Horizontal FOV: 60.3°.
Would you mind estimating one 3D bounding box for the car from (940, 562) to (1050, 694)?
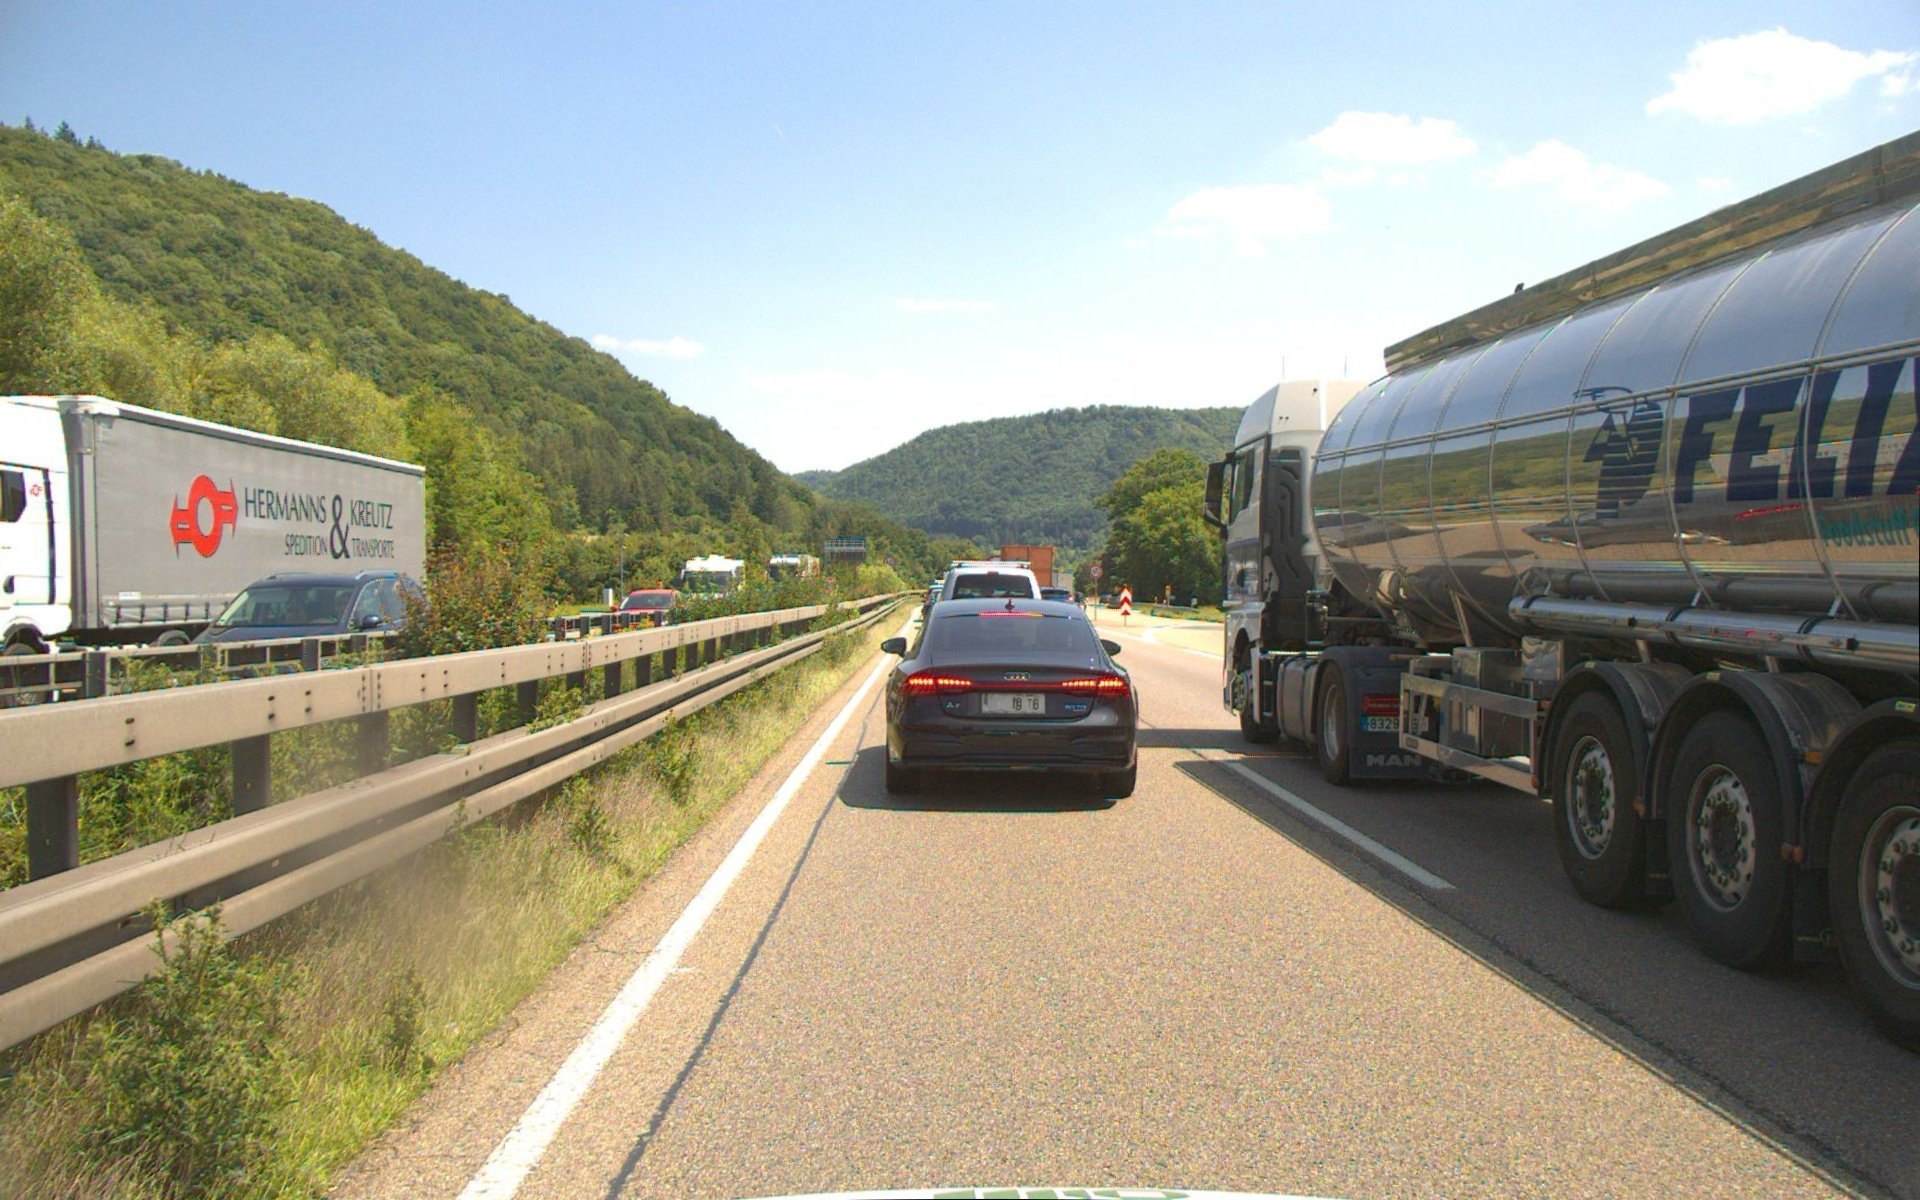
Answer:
[{"bbox_3d":[0.471,0.382,25.506,1.544,1.865,3.999,1,0,-1],"label":"car"}]

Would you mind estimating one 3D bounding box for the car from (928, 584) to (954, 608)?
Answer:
[{"bbox_3d":[-1.312,-0.280,113.965,1.677,1.646,4.000,0,0,0],"label":"car"}]

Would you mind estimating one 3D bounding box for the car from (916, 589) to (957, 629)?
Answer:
[{"bbox_3d":[-0.977,0.379,70.633,1.677,1.646,4.000,0,0,0],"label":"car"}]

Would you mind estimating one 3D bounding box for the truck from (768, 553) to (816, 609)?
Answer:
[{"bbox_3d":[-12.653,-1.434,125.410,2.811,4.076,10.168,1,0,-1],"label":"truck"}]

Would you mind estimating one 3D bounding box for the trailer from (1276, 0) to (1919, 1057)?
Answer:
[{"bbox_3d":[4.269,-0.441,9.142,2.487,3.801,11.888,1,0,-1],"label":"trailer"}]

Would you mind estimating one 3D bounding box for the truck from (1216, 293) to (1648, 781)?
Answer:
[{"bbox_3d":[4.135,-0.512,15.678,2.460,3.824,5.244,1,0,-1],"label":"truck"}]

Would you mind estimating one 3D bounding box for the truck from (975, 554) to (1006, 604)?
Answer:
[{"bbox_3d":[2.227,-1.529,123.041,1.953,3.507,11.810,1,0,-1],"label":"truck"}]

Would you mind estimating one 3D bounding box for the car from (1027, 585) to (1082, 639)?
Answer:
[{"bbox_3d":[3.657,0.447,64.581,1.952,2.037,4.000,0,0,0],"label":"car"}]

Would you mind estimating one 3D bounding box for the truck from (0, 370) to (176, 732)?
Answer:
[{"bbox_3d":[-12.143,-0.550,20.079,2.672,4.071,5.369,-1,0,-1],"label":"truck"}]

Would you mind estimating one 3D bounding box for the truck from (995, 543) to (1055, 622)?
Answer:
[{"bbox_3d":[3.496,-0.949,92.623,2.760,4.073,14.955,1,0,0],"label":"truck"}]

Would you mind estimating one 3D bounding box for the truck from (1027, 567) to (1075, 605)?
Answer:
[{"bbox_3d":[11.139,-1.662,201.051,3.712,4.491,14.968,0,0,11],"label":"truck"}]

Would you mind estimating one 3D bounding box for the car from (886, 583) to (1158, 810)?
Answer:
[{"bbox_3d":[0.328,0.636,13.152,1.812,1.514,4.081,1,0,-3],"label":"car"}]

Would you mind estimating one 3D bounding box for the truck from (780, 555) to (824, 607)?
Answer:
[{"bbox_3d":[-12.835,-1.501,135.000,2.811,4.050,9.030,1,0,-1],"label":"truck"}]

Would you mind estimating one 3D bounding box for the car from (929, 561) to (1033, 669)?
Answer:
[{"bbox_3d":[0.371,0.275,33.565,1.953,2.049,3.999,1,0,-1],"label":"car"}]

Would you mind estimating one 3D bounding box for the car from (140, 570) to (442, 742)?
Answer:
[{"bbox_3d":[-7.914,0.587,20.084,1.883,1.828,4.599,1,0,-2],"label":"car"}]

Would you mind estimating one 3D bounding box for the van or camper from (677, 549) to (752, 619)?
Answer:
[{"bbox_3d":[-12.479,-0.800,84.669,2.536,3.394,7.649,0,0,1],"label":"van or camper"}]

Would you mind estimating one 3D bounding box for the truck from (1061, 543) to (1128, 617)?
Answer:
[{"bbox_3d":[7.946,-1.181,99.406,2.760,4.073,14.955,1,0,0],"label":"truck"}]

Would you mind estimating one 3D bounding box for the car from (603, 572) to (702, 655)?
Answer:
[{"bbox_3d":[-8.003,0.319,43.359,1.954,2.049,4.332,1,0,-3],"label":"car"}]

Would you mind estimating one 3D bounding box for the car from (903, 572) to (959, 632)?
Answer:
[{"bbox_3d":[-1.042,0.056,59.219,1.953,2.049,3.999,0,0,-1],"label":"car"}]

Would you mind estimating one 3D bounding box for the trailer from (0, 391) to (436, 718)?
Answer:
[{"bbox_3d":[-12.337,-0.624,27.695,2.726,4.069,14.158,1,0,-1],"label":"trailer"}]

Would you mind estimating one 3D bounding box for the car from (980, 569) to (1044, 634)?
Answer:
[{"bbox_3d":[1.676,0.023,54.584,1.953,2.049,3.999,0,0,-1],"label":"car"}]

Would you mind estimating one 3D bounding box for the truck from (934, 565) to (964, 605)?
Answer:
[{"bbox_3d":[-1.004,-1.362,149.926,2.575,3.500,11.420,0,0,0],"label":"truck"}]
